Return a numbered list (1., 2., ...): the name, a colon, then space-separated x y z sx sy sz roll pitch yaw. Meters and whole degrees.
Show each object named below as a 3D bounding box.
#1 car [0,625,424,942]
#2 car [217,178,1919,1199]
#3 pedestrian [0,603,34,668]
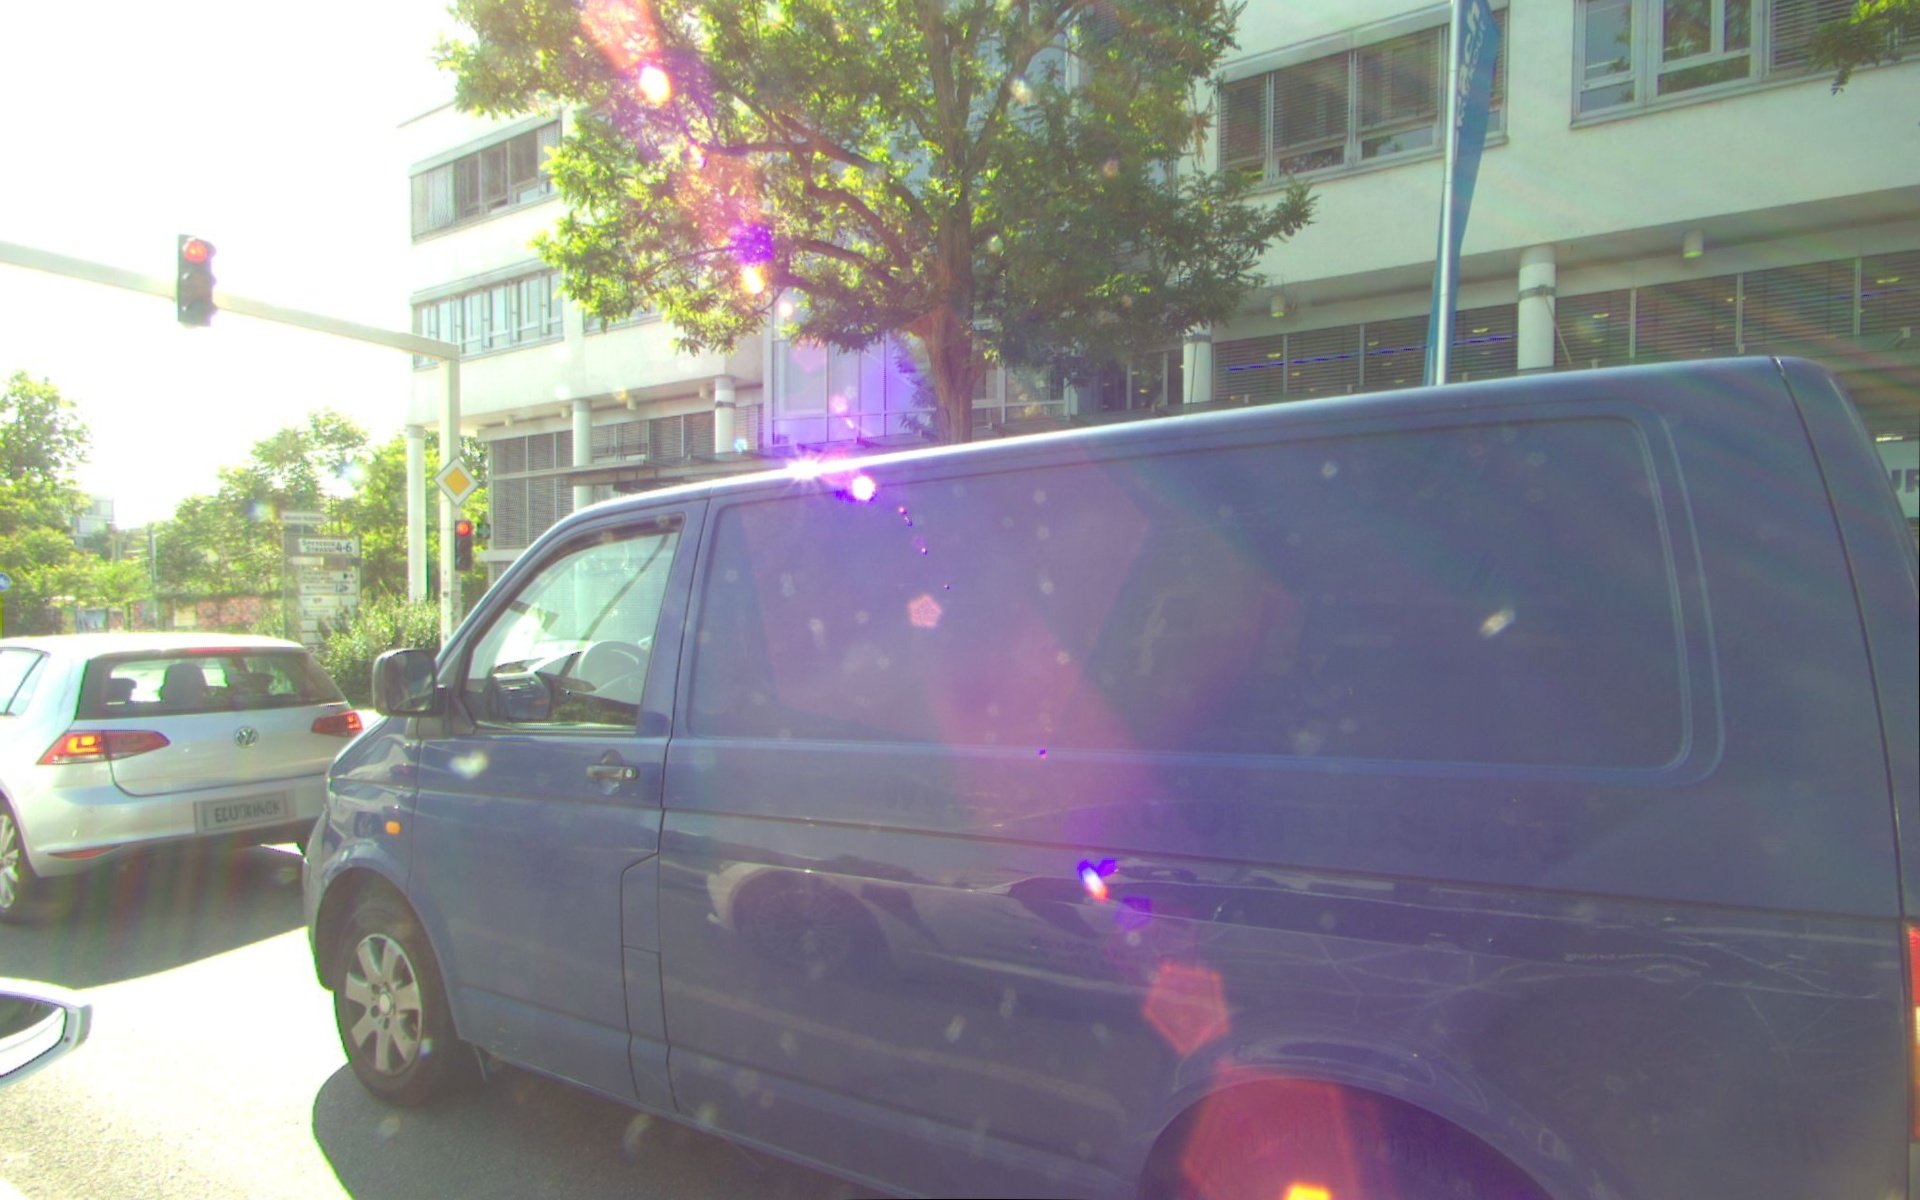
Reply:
1. car: -5.499 0.919 6.441 3.940 1.448 1.805 -1 -1 30
2. car: -0.095 0.537 3.151 4.821 1.973 1.989 -1 -1 32
3. pedestrian: -30.180 1.112 31.705 1.023 2.040 1.025 0 0 32
